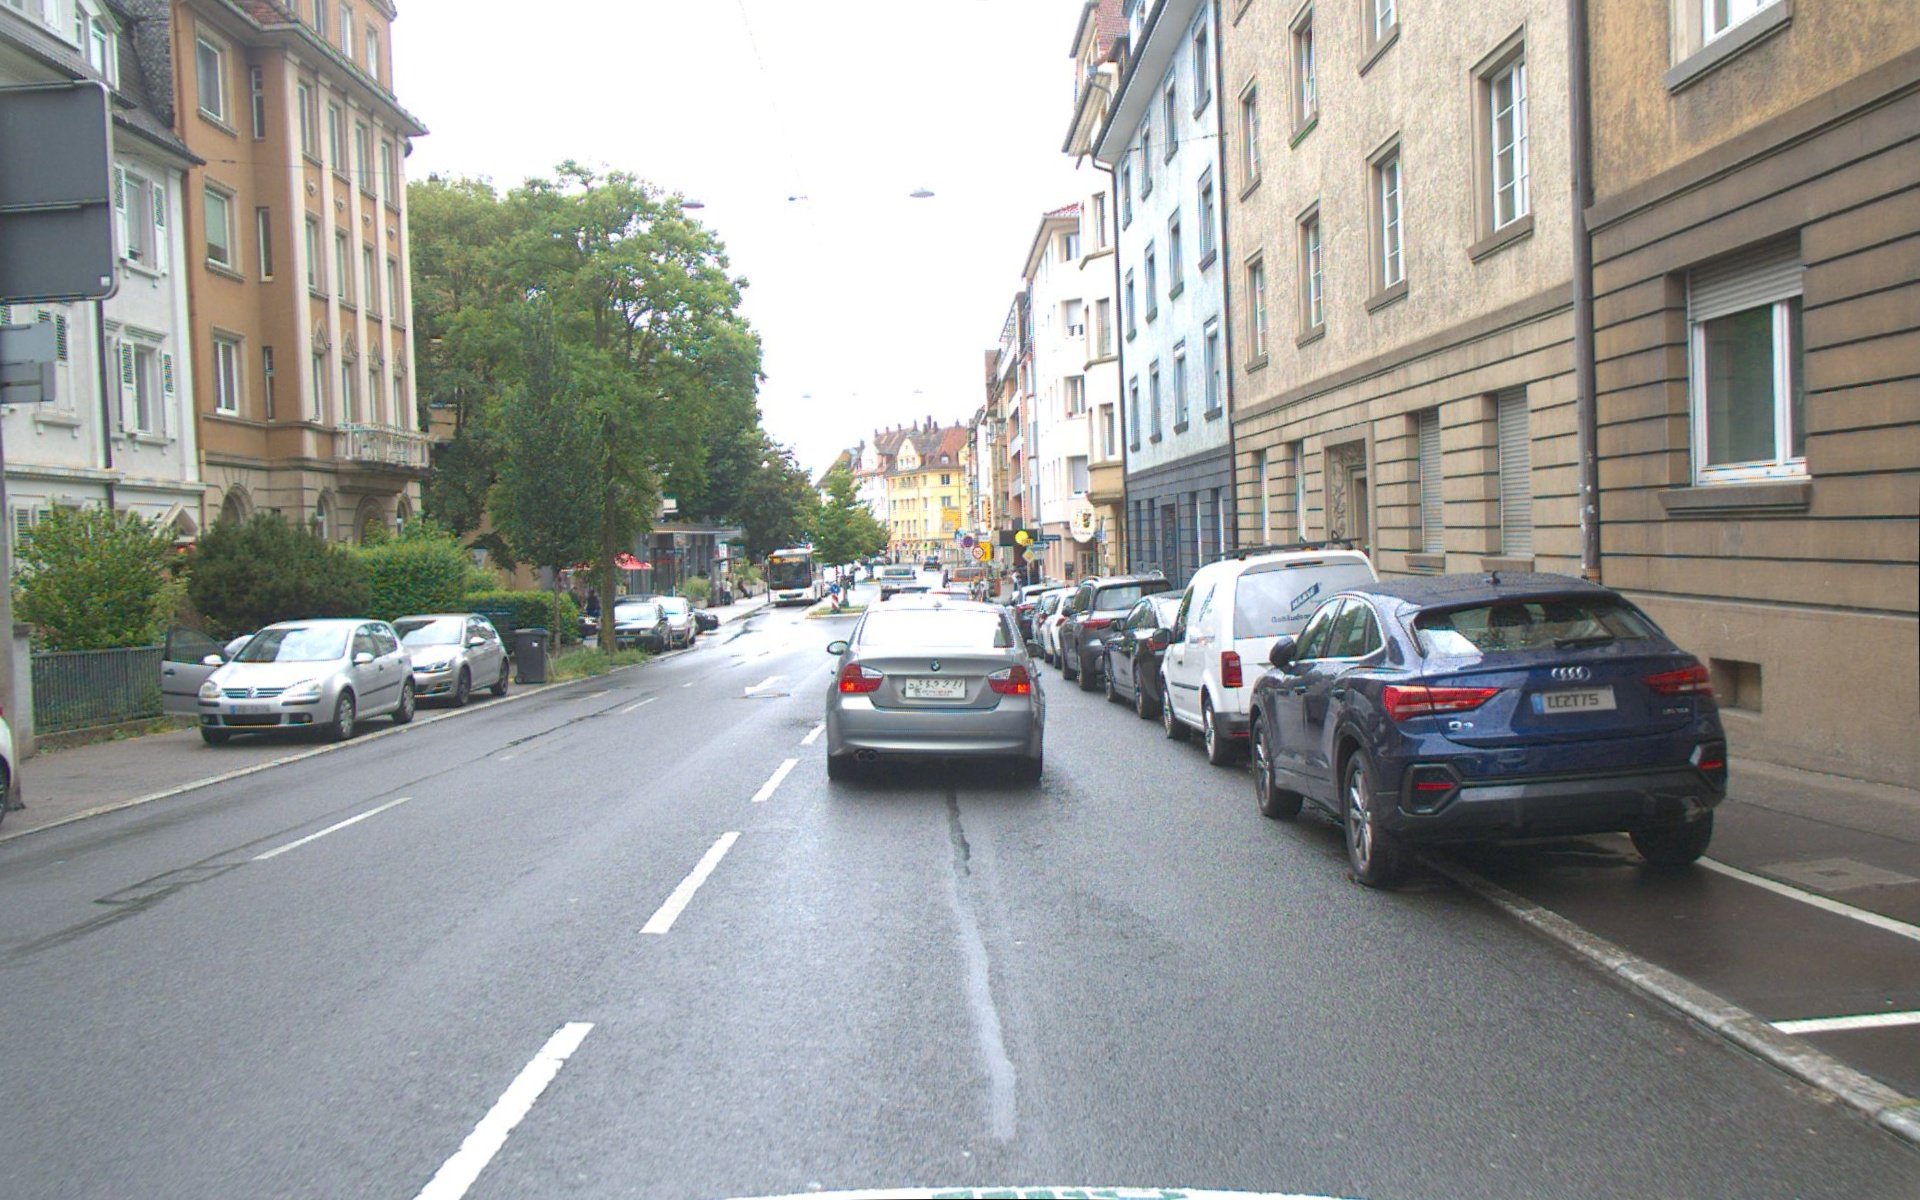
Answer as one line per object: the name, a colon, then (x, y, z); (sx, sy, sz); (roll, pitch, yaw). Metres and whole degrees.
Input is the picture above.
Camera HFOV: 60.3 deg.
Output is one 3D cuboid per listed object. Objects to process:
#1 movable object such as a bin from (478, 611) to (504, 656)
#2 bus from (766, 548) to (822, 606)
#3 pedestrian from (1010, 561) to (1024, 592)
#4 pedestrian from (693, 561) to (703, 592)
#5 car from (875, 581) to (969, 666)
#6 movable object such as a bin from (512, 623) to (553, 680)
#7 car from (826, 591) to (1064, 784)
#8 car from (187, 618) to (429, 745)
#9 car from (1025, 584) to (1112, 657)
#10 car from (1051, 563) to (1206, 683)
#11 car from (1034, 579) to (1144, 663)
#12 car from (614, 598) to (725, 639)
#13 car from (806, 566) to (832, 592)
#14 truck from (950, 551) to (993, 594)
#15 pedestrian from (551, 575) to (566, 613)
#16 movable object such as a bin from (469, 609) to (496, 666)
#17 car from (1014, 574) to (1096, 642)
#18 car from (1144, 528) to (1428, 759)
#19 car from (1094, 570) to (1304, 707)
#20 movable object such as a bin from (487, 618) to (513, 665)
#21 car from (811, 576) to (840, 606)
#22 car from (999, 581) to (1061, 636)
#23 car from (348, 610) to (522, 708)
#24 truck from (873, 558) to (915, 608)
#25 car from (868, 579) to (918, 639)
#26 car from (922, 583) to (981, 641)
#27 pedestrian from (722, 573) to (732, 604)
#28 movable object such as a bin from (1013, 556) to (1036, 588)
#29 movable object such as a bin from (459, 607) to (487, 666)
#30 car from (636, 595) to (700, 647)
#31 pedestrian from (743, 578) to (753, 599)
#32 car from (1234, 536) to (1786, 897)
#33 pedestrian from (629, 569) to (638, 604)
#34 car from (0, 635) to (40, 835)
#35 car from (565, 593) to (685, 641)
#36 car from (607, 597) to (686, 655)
movable object such as a bin: (-11.478, 0.811, 40.484); (0.417, 1.059, 0.650); (-2, 1, -2)
bus: (-9.977, -1.315, 100.614); (2.627, 3.256, 11.950); (1, 0, -2)
pedestrian: (3.160, -1.299, 91.307); (0.737, 1.690, 0.752); (1, -1, 0)
pedestrian: (-15.461, -1.377, 97.709); (0.533, 1.821, 0.507); (1, -1, -10)
car: (-0.736, 0.412, 30.160); (1.570, 1.445, 3.285); (1, 0, -4)
movable object such as a bin: (-8.445, 1.013, 32.693); (0.617, 1.076, 0.600); (-2, -1, -1)
car: (-0.148, 0.646, 13.653); (1.720, 1.386, 3.163); (-1, 0, -2)
car: (-8.447, 1.000, 21.786); (1.648, 1.414, 3.908); (-1, 0, -1)
car: (2.434, 0.426, 37.836); (1.551, 1.454, 3.594); (-5, 1, -2)
car: (2.615, 0.336, 26.560); (1.804, 1.649, 4.206); (-3, 0, -2)
car: (2.528, 0.371, 33.299); (1.695, 1.454, 3.972); (-5, 1, -2)
car: (-10.546, 0.678, 60.172); (3.739, 1.414, 1.742); (-1, 0, -3)
car: (-11.671, -1.721, 136.803); (1.953, 2.049, 3.998); (1, 0, -2)
truck: (0.579, -1.419, 87.403); (2.170, 2.153, 4.651); (2, 0, -1)
pedestrian: (-19.942, -0.310, 82.120); (0.623, 1.847, 0.636); (-2, 1, -14)
movable object such as a bin: (-11.471, 0.899, 39.728); (0.430, 1.331, 0.609); (-2, 0, -2)
car: (2.473, 0.185, 43.940); (1.781, 1.584, 4.292); (-4, 1, -1)
car: (2.996, 0.345, 16.062); (1.755, 1.849, 4.079); (-4, 1, -2)
car: (2.928, 0.425, 21.231); (1.804, 1.433, 4.386); (-4, 1, -2)
movable object such as a bin: (-11.467, 1.029, 41.244); (0.430, 1.150, 0.657); (-2, 1, -2)
car: (-9.801, -0.636, 120.726); (1.953, 2.049, 3.998); (1, 0, -2)
car: (2.072, 0.225, 49.686); (1.538, 1.489, 4.088); (-4, 1, -1)
car: (-8.623, 0.921, 27.497); (1.648, 1.414, 3.935); (-1, 0, -1)
truck: (-3.605, -0.896, 90.380); (2.172, 2.589, 4.777); (1, 0, -2)
car: (-2.410, 0.325, 58.995); (1.671, 2.049, 3.997); (1, 0, -4)
car: (-0.210, 0.307, 41.640); (1.406, 1.380, 3.762); (1, 0, 0)
pedestrian: (-13.343, -0.671, 94.714); (0.532, 1.739, 0.465); (1, -1, -8)
movable object such as a bin: (3.699, -1.605, 94.717); (1.100, 1.732, 1.433); (-3, 0, -4)
movable object such as a bin: (-11.438, 0.847, 38.820); (0.430, 1.331, 0.650); (-2, 0, -2)
car: (-8.996, 0.621, 51.192); (1.600, 1.479, 3.836); (-2, 1, -5)
pedestrian: (-14.125, -0.740, 110.309); (0.607, 1.402, 0.544); (1, -1, -1)
car: (2.924, 0.516, 9.845); (1.754, 1.575, 4.225); (-4, 1, -1)
pedestrian: (-17.417, -0.726, 88.249); (0.456, 1.821, 0.543); (1, -1, -8)
car: (-8.187, 1.064, 11.454); (1.613, 1.534, 3.794); (-2, 0, -3)
car: (-11.564, 0.568, 57.224); (3.737, 1.413, 1.743); (-2, 2, 1)
car: (-8.840, 0.698, 46.911); (1.621, 1.479, 3.940); (-2, 1, -3)
